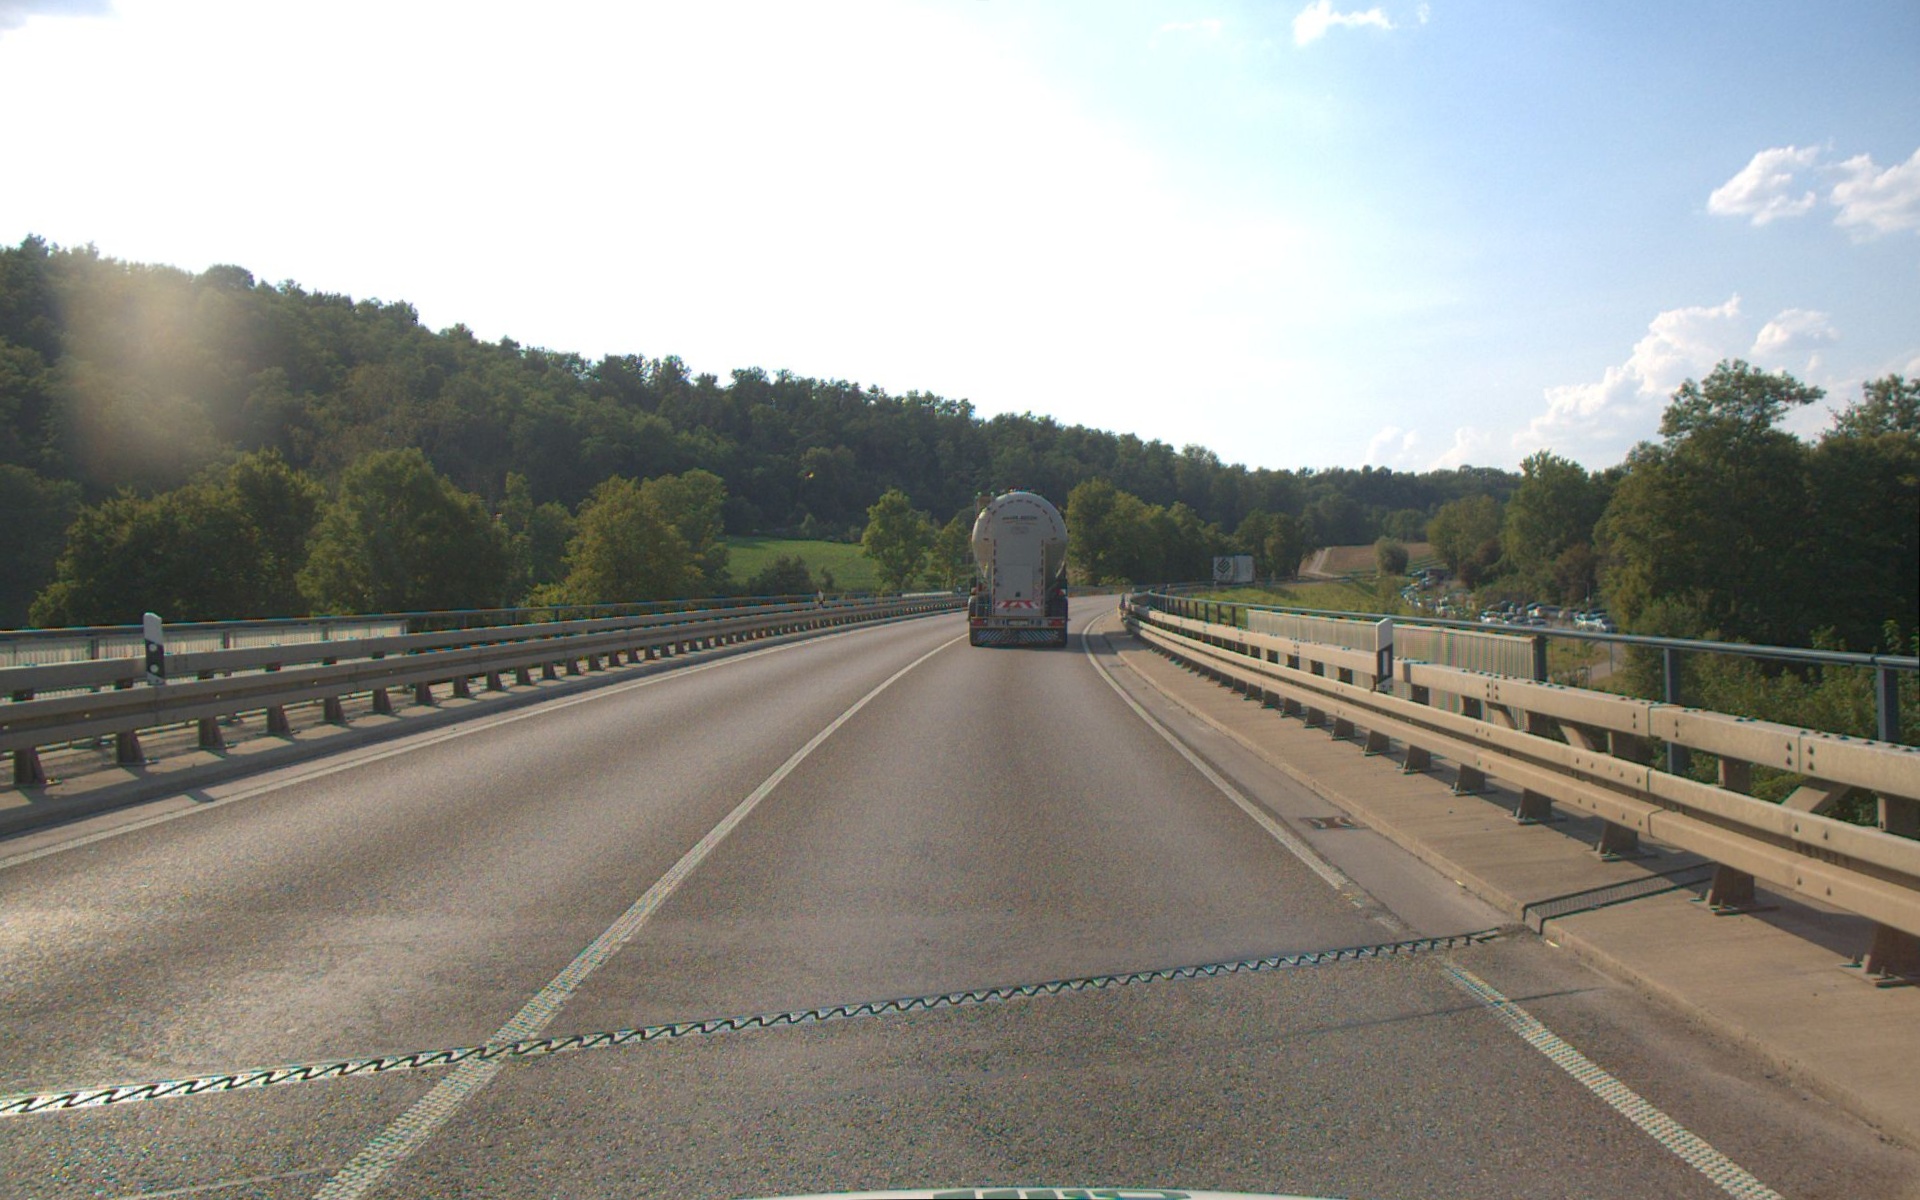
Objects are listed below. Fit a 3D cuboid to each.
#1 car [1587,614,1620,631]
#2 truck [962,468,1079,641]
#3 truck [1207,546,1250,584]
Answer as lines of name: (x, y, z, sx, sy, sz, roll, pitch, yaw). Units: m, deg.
car: (60.814, 2.088, 156.277, 1.620, 1.522, 4.225, 0, 0, 3)
truck: (1.668, -1.204, 47.302, 2.833, 4.215, 13.175, 1, 1, 2)
truck: (32.634, -4.297, 200.512, 3.116, 4.301, 13.181, 0, 2, 18)
